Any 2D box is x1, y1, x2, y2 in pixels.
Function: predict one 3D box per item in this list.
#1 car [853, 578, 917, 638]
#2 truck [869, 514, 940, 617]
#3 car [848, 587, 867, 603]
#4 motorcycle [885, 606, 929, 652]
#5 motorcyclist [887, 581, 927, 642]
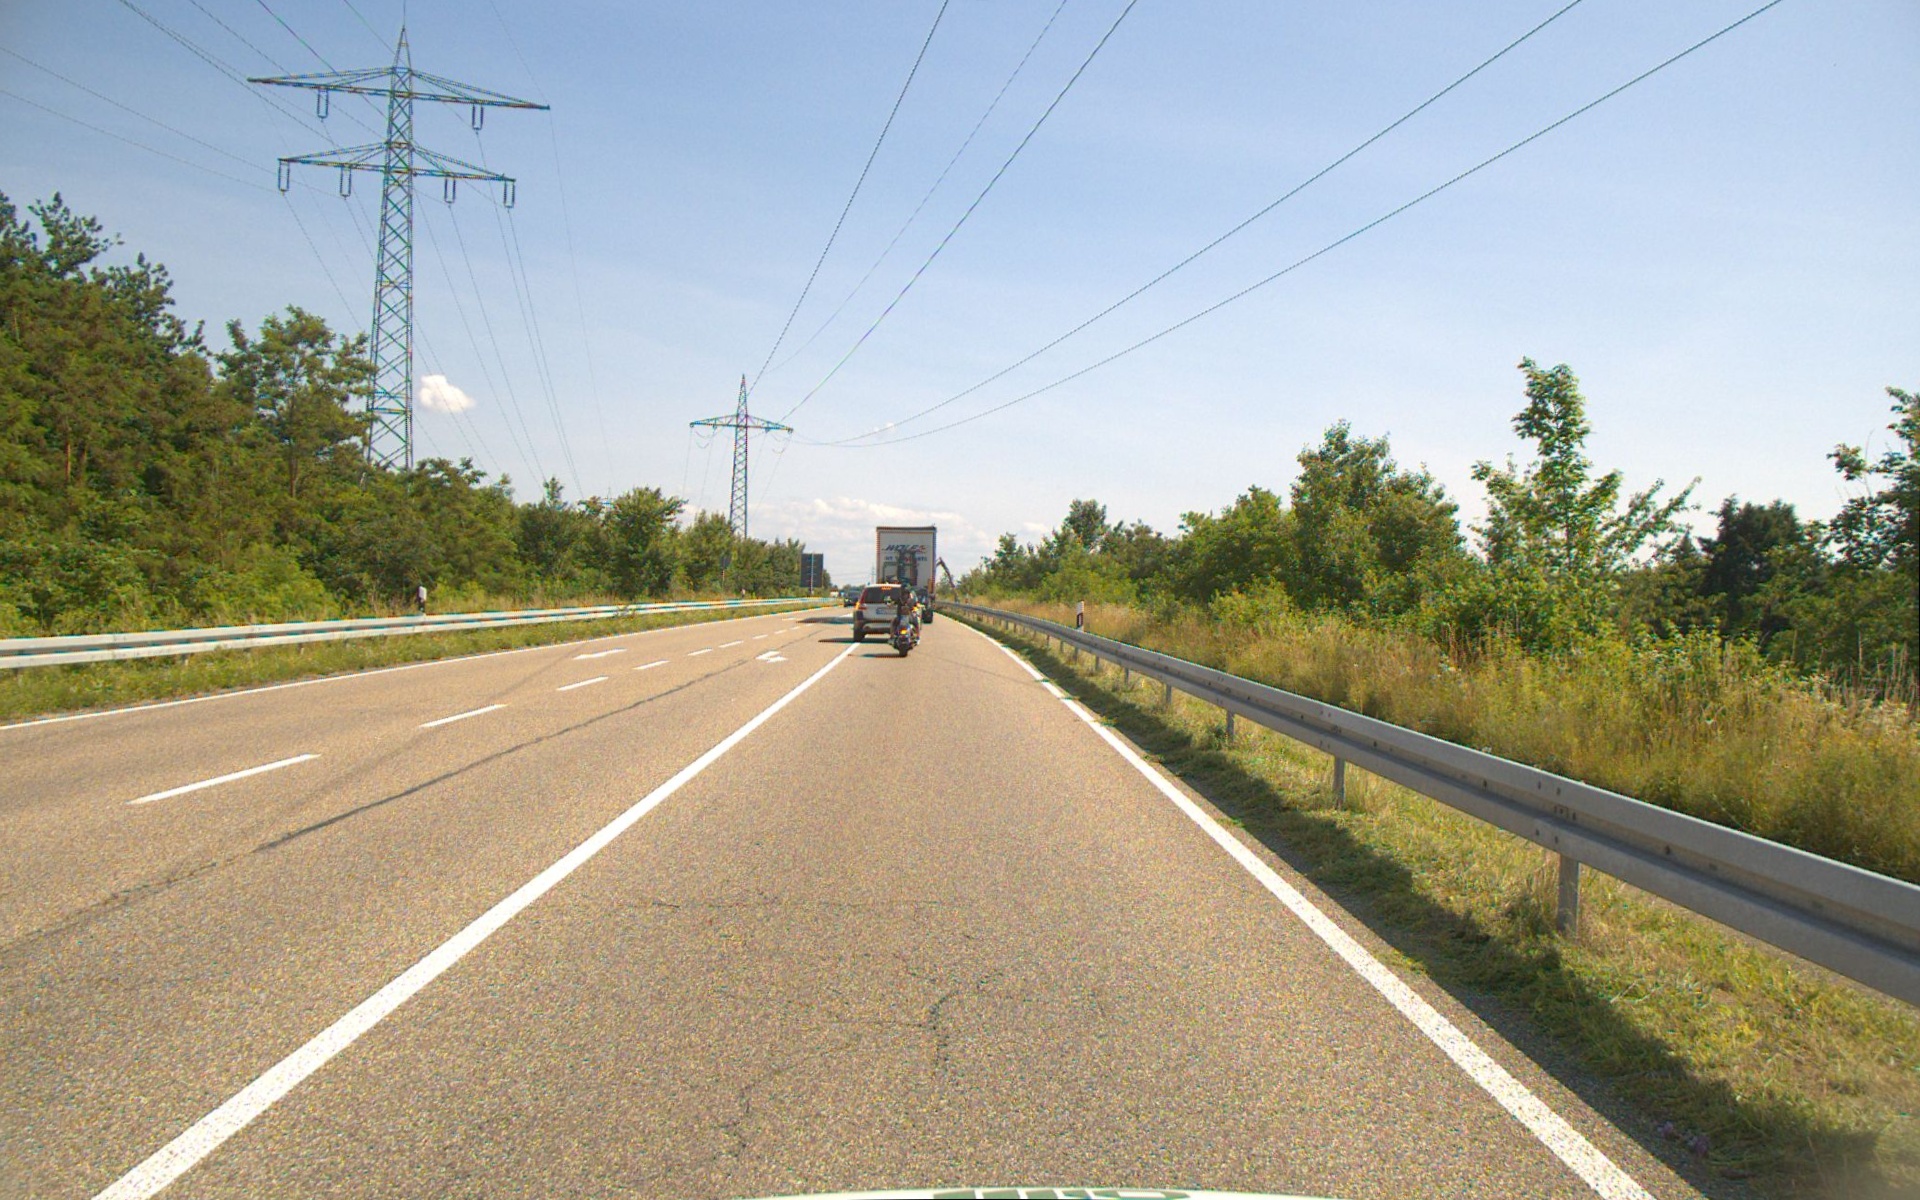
[{"bbox_3d":[-2.052,0.205,45.517,1.667,1.563,3.498,1,0,-2],"label":"car"},{"bbox_3d":[-2.476,-1.467,76.775,2.907,4.260,14.818,1,0,-1],"label":"truck"},{"bbox_3d":[-9.819,-0.475,157.999,1.693,1.517,4.420,1,0,-3],"label":"car"},{"bbox_3d":[-1.161,0.609,35.808,0.842,0.931,2.226,1,0,-4],"label":"motorcycle"},{"bbox_3d":[-1.153,0.242,35.865,0.821,1.303,0.918,1,0,-4],"label":"motorcyclist"}]
